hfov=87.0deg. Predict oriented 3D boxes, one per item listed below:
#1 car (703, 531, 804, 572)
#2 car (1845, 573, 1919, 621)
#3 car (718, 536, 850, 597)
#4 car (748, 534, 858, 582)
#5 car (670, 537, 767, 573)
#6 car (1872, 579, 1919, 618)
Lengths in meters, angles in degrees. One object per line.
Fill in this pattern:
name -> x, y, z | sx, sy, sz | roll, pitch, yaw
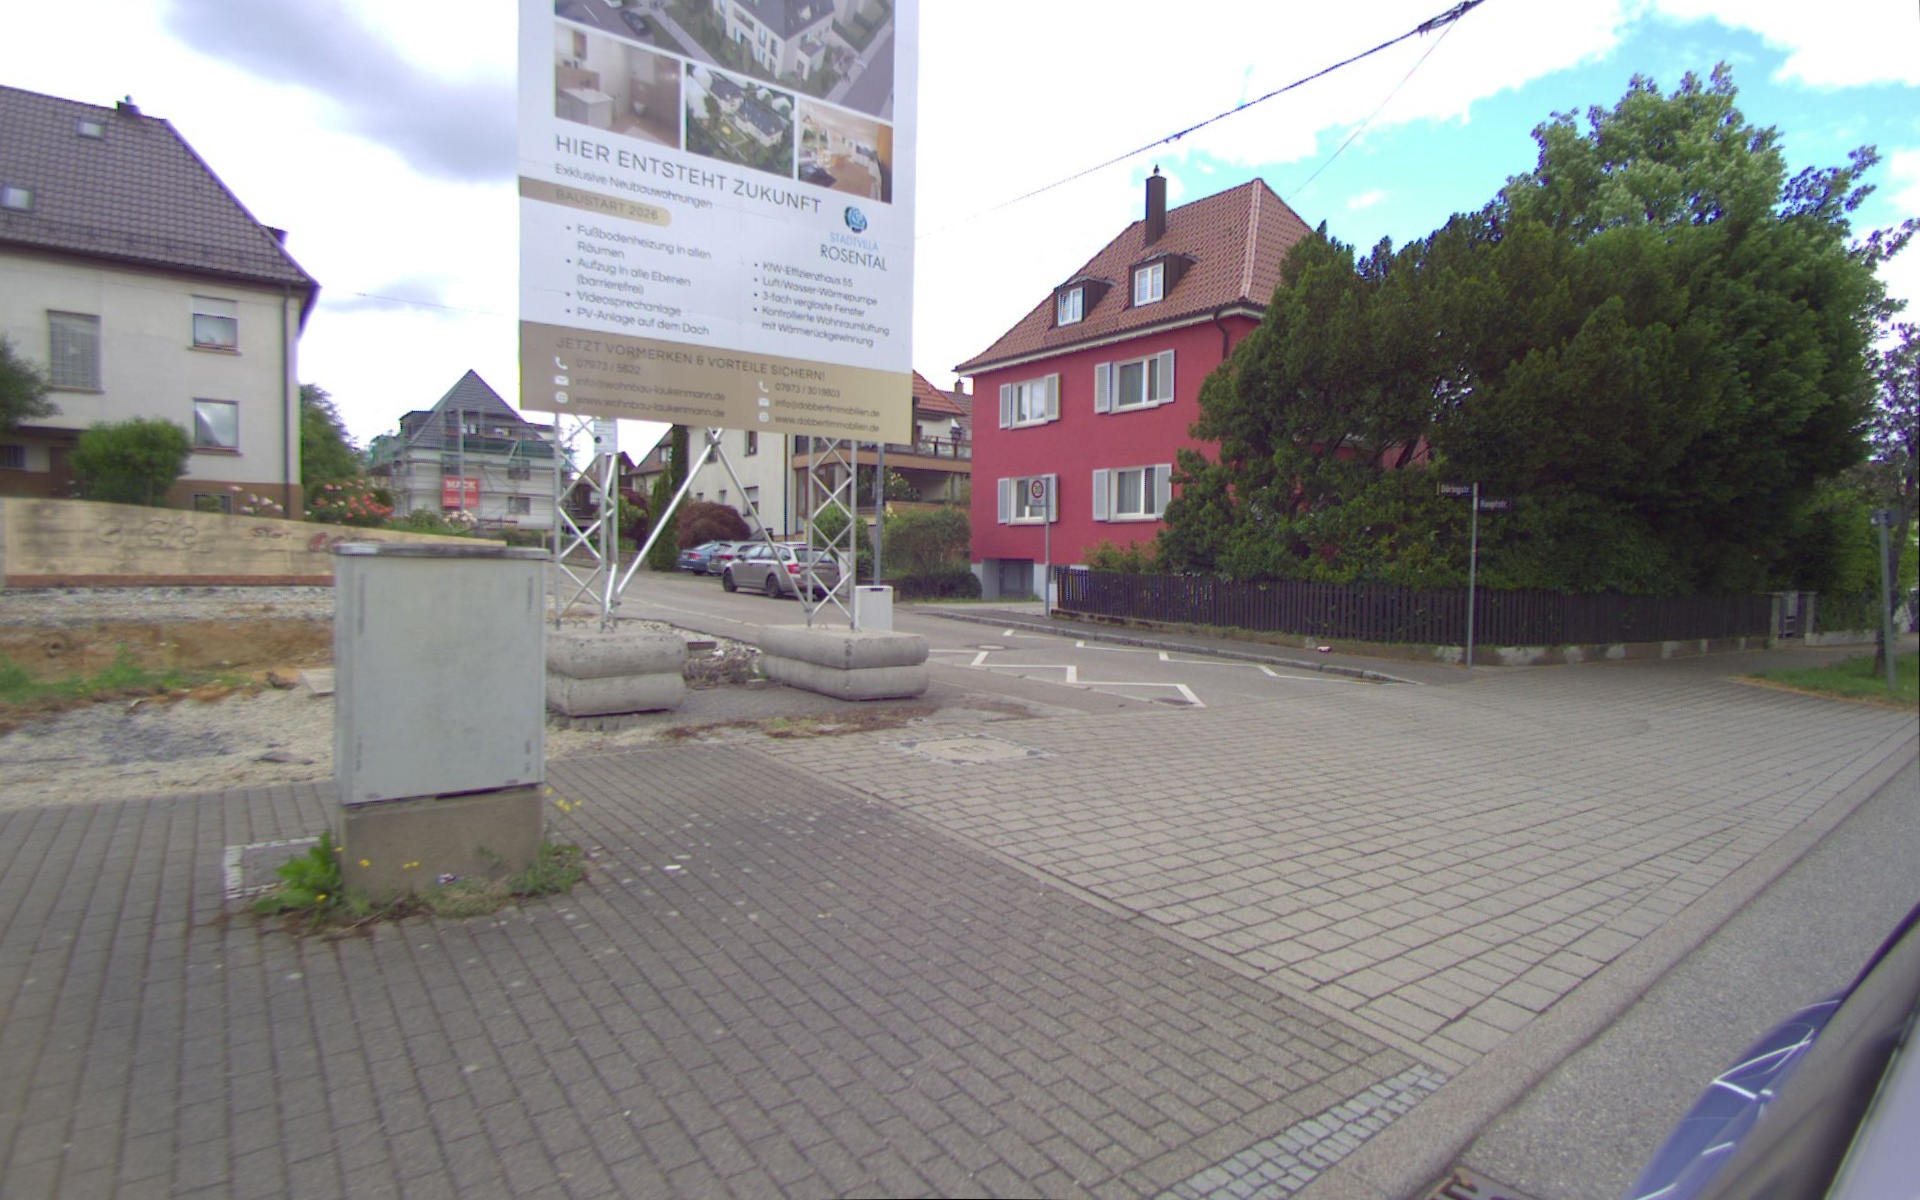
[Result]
car -> -7.902, -1.835, 38.863 | 3.438, 1.485, 1.621 | -1, 1, -39
car -> 36.332, -0.088, 38.786 | 1.552, 1.653, 3.360 | 0, 5, -41
car -> -4.918, -0.954, 27.796 | 1.728, 1.442, 4.232 | 1, 3, -38
car -> -5.391, -1.423, 34.977 | 3.438, 1.560, 1.621 | -1, 1, -39
car -> -9.720, -1.790, 40.793 | 3.438, 1.340, 1.621 | -1, 1, -39
car -> 38.787, -0.035, 40.412 | 1.720, 1.477, 3.356 | -1, 3, -43
